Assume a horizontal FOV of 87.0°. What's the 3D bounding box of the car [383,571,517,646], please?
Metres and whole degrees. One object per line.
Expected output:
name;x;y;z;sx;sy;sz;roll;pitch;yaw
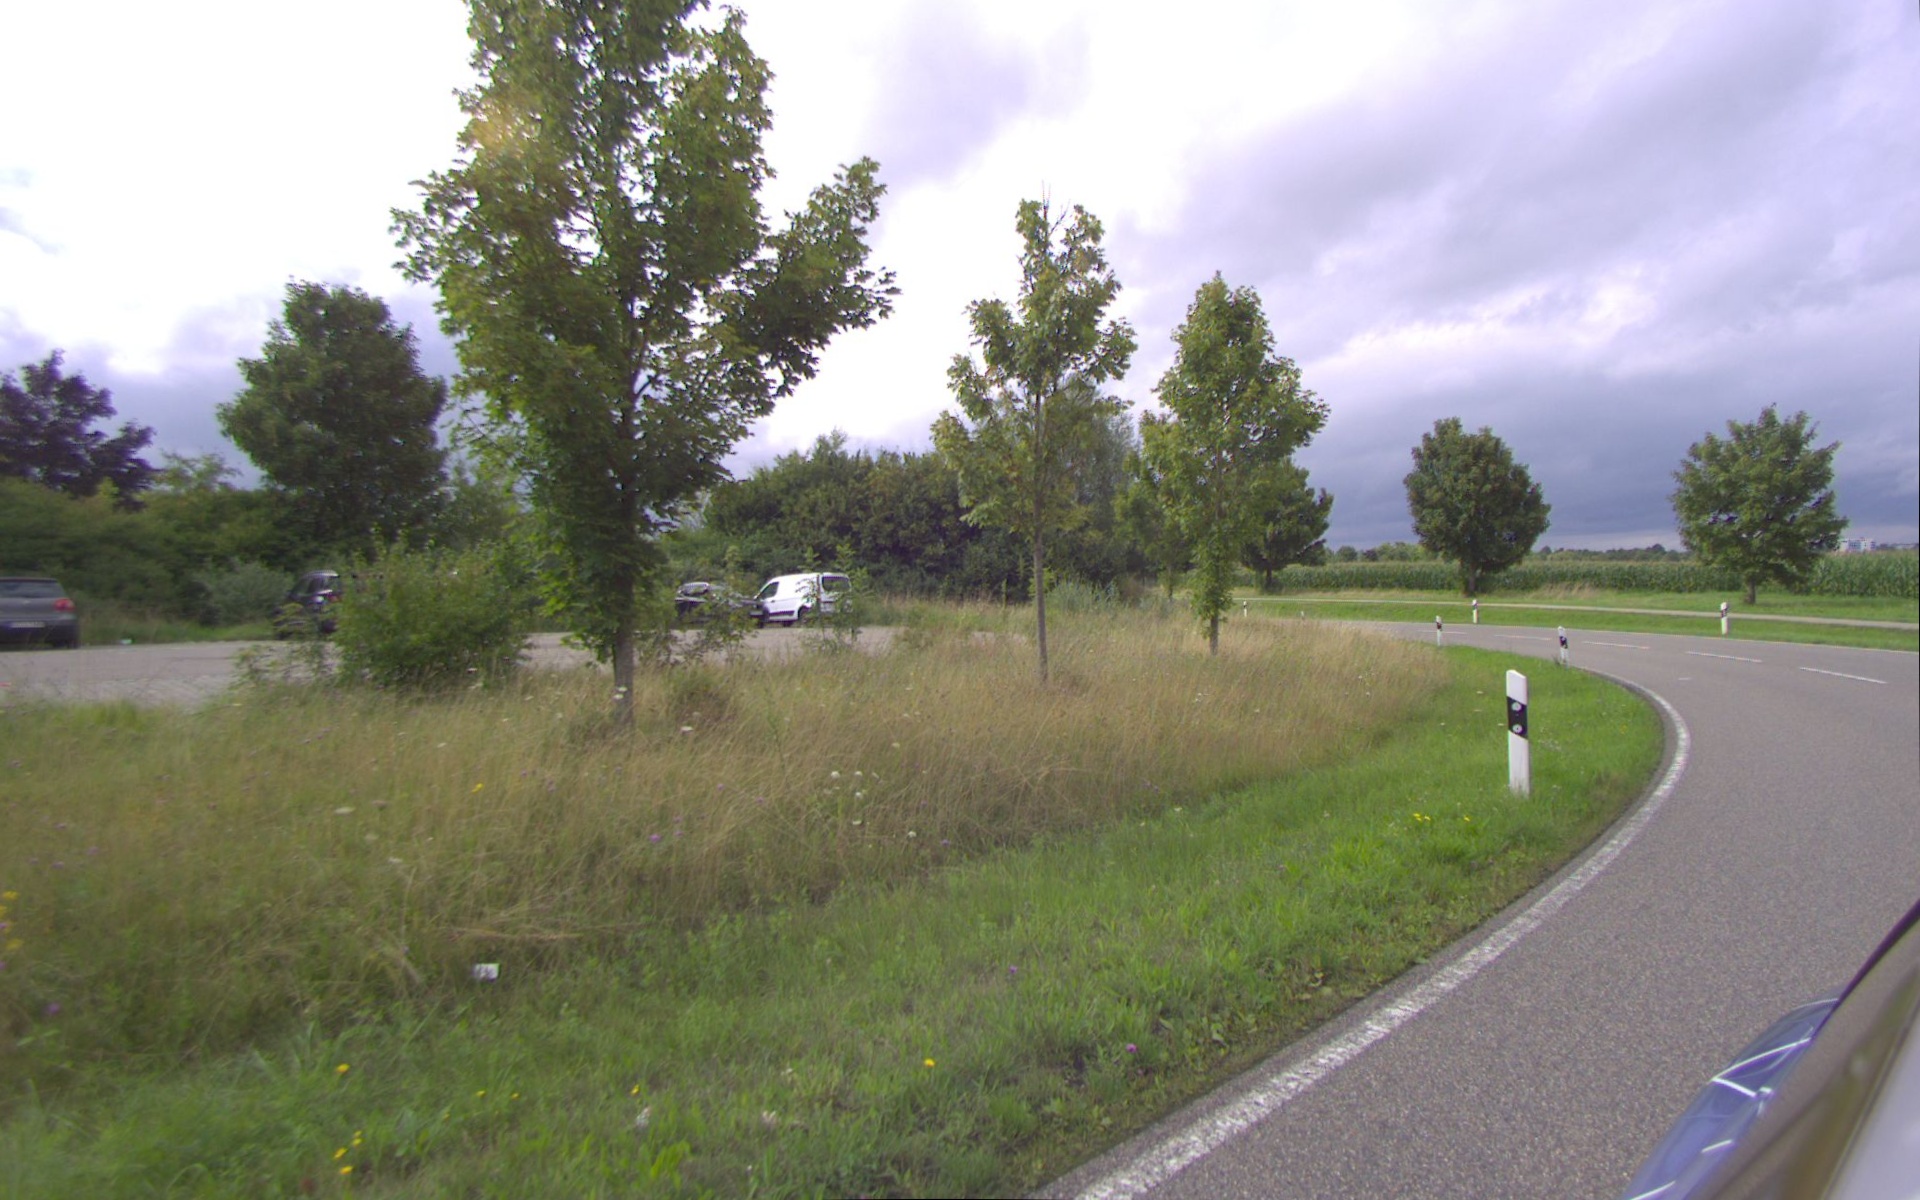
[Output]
car;-13.909;0.158;27.504;3.985;1.883;1.970;1;2;42

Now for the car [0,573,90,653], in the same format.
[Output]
car;-19.526;0.216;20.928;3.999;1.524;2.019;1;2;45

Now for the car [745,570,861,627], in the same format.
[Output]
car;-5.529;-0.114;35.448;3.985;1.883;1.970;1;2;42

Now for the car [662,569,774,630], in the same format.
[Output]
car;-8.077;-0.067;33.624;3.985;1.883;1.718;1;2;42

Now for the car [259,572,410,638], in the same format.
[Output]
car;-15.655;0.060;25.269;3.979;1.515;1.973;1;2;38
